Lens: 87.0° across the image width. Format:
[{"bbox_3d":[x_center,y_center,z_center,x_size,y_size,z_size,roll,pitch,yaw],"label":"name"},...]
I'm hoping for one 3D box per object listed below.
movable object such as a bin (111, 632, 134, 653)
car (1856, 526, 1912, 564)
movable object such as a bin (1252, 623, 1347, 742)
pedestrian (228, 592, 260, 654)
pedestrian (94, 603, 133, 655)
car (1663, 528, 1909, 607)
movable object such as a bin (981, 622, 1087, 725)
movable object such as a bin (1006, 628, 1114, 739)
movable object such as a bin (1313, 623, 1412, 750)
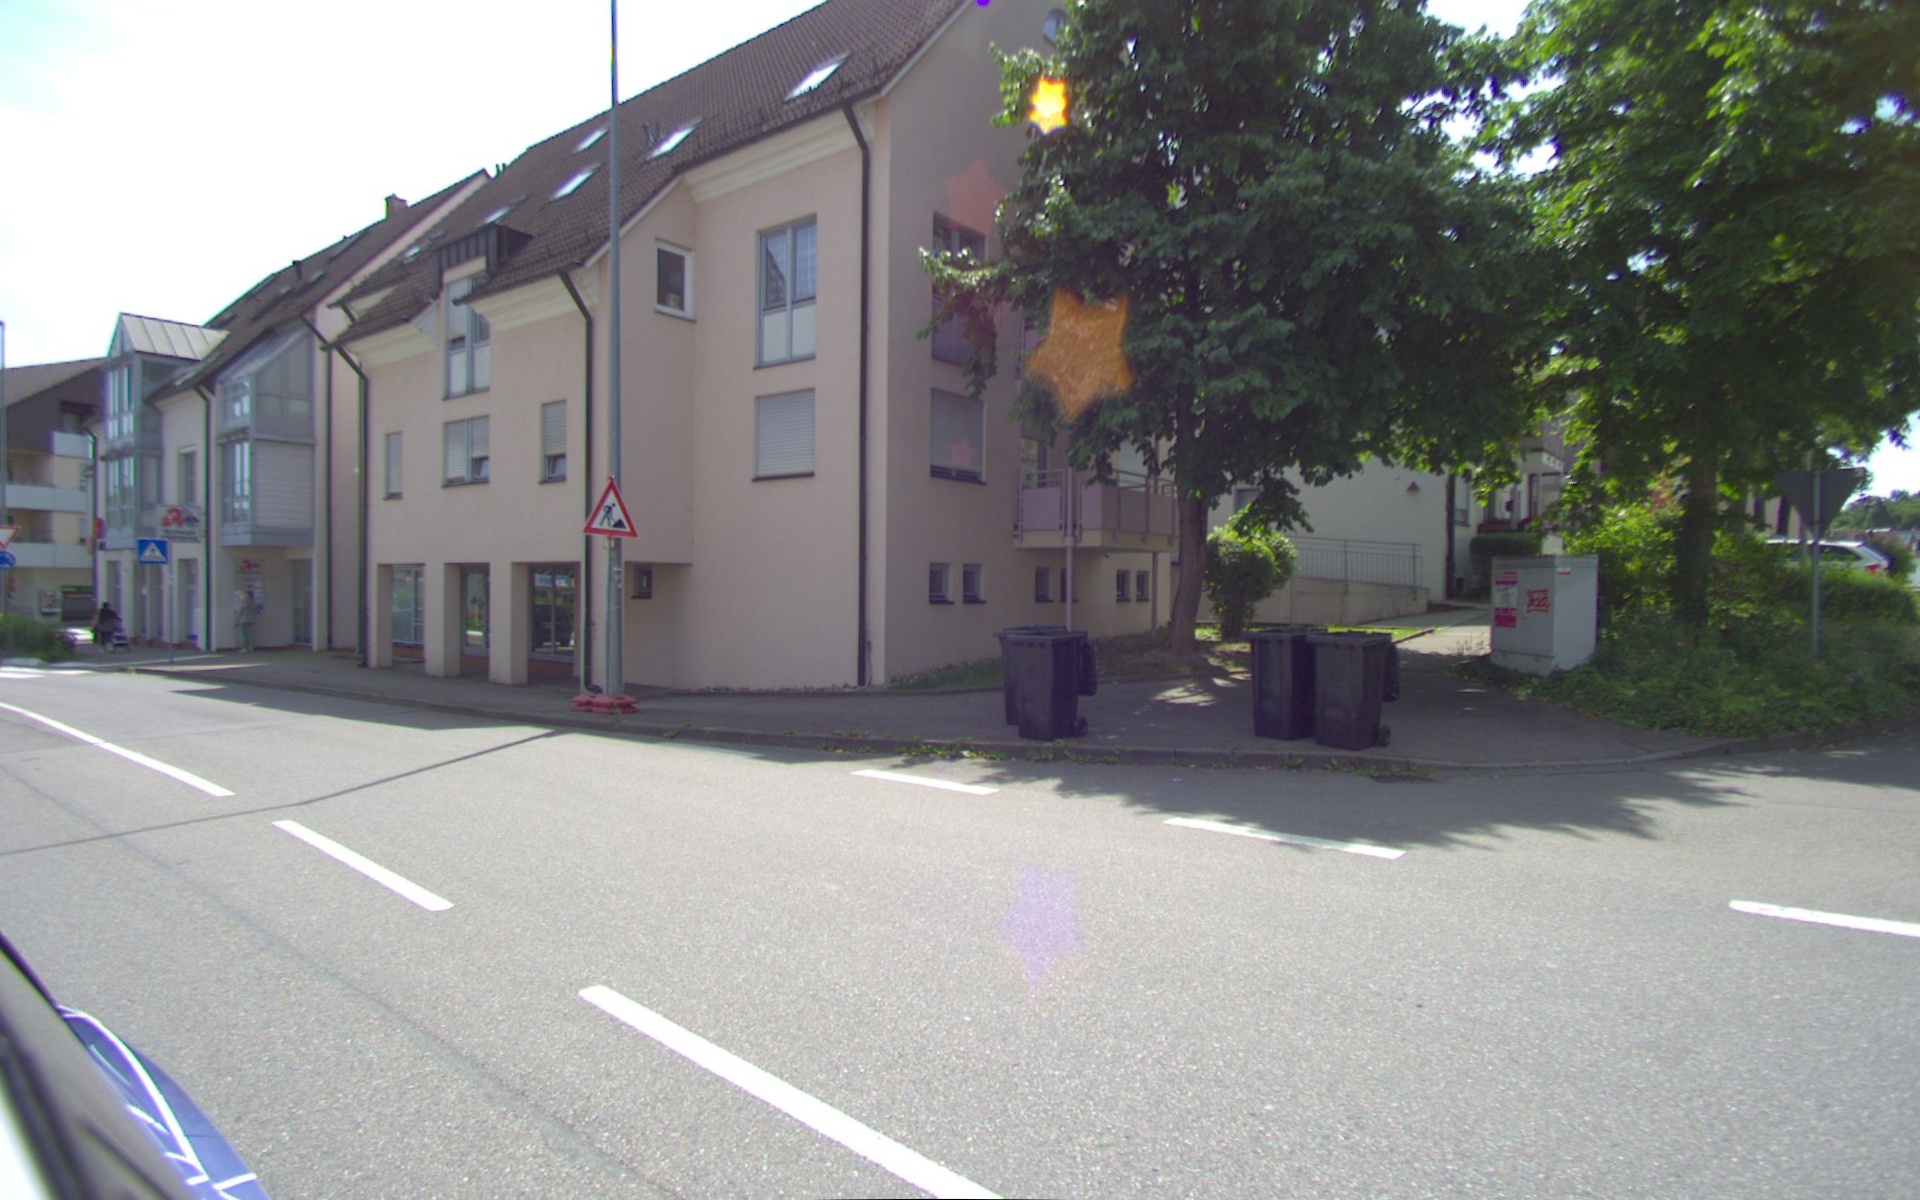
[{"bbox_3d":[-24.357,1.229,29.430,0.469,0.586,0.452,-1,0,44],"label":"movable object such as a bin"},{"bbox_3d":[50.735,-2.981,55.645,1.998,1.960,4.302,0,2,39],"label":"car"},{"bbox_3d":[3.253,0.762,9.684,0.609,1.007,0.763,1,5,42],"label":"movable object such as a bin"},{"bbox_3d":[-20.320,0.633,28.720,0.579,1.722,0.569,-1,1,41],"label":"pedestrian"},{"bbox_3d":[-24.750,0.831,29.587,0.958,1.489,0.791,-1,0,45],"label":"pedestrian"},{"bbox_3d":[18.558,-0.670,22.933,4.144,1.579,1.973,-1,0,40],"label":"car"},{"bbox_3d":[0.795,0.762,10.900,0.805,1.008,0.792,-1,1,42],"label":"movable object such as a bin"},{"bbox_3d":[0.987,0.791,9.981,0.694,1.008,0.842,-1,0,42],"label":"movable object such as a bin"},{"bbox_3d":[3.673,0.760,9.226,0.609,1.007,0.763,1,5,43],"label":"movable object such as a bin"}]
